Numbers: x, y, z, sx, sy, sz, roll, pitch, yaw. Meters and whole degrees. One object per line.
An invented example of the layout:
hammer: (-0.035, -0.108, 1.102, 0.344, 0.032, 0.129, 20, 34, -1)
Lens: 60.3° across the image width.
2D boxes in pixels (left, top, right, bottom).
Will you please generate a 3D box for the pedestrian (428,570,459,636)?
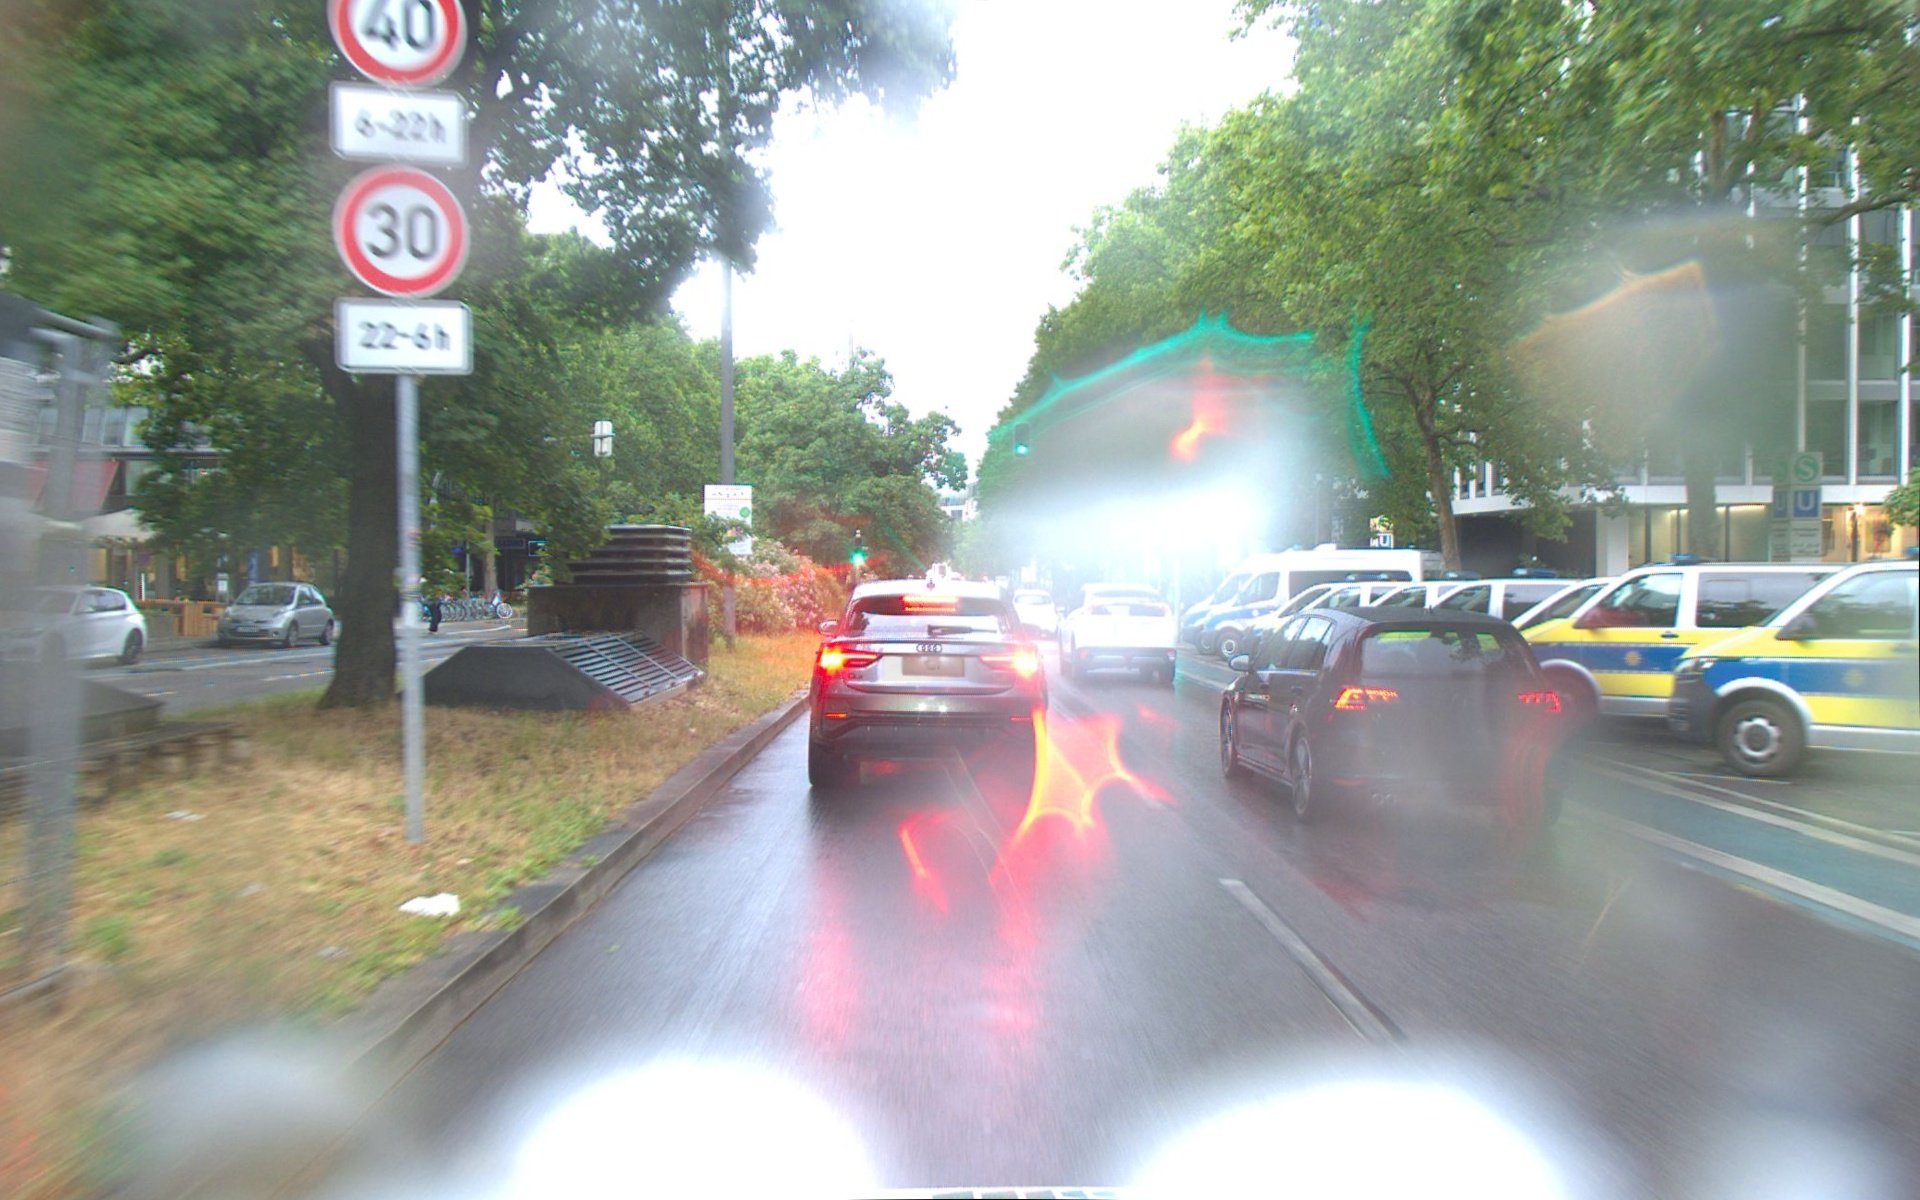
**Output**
pedestrian: (-14.970, 0.091, 47.946, 0.711, 1.899, 0.841, 0, 0, -8)

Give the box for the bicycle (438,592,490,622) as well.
bicycle: (-18.505, 0.258, 61.710, 1.787, 1.117, 0.565, 0, 0, -8)

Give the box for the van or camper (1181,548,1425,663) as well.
van or camper: (8.647, 0.099, 41.976, 5.702, 2.724, 2.138, 1, 0, 37)

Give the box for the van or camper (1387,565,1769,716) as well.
van or camper: (9.201, 0.521, 24.852, 5.008, 2.060, 2.097, 1, 0, 37)

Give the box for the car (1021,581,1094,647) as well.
car: (2.685, 0.356, 46.232, 1.785, 1.780, 4.000, 0, 1, 0)

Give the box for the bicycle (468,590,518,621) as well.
bicycle: (-18.027, 0.220, 63.851, 1.809, 1.169, 0.565, 0, 1, -7)

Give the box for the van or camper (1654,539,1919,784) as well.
van or camper: (8.759, 0.520, 14.356, 4.758, 2.033, 1.860, 1, 0, 36)

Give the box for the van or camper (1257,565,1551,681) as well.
van or camper: (8.519, 0.397, 31.957, 5.102, 2.027, 1.994, 2, 0, 34)

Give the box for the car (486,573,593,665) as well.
car: (-6.743, 0.279, 26.687, 1.029, 1.412, 2.694, 0, 0, 0)

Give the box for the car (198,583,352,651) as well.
car: (-16.274, 0.354, 39.554, 1.953, 1.535, 4.516, 0, 1, -3)

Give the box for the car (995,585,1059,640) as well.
car: (2.210, 0.383, 55.180, 1.953, 1.780, 4.000, 0, 1, 0)

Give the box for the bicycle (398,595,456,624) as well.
bicycle: (-18.347, 0.330, 56.971, 1.808, 0.996, 0.565, 0, 0, -4)

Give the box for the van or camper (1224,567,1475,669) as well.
van or camper: (8.350, 0.378, 35.650, 4.915, 2.049, 1.993, 0, -1, 35)

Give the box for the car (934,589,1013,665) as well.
car: (0.263, 0.556, 37.320, 1.686, 1.605, 3.961, 0, 0, -1)

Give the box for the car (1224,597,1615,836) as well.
car: (3.162, 0.714, 12.230, 1.729, 1.437, 3.999, 0, 1, -1)

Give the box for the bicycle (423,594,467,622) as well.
bicycle: (-18.471, 0.273, 59.360, 1.435, 0.996, 0.565, 0, 0, -9)

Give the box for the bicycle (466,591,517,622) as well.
bicycle: (-17.908, 0.236, 63.286, 1.809, 1.156, 0.565, 0, 1, -7)

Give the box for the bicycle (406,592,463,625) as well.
bicycle: (-18.362, 0.297, 57.833, 1.810, 1.117, 0.613, 0, 0, -9)

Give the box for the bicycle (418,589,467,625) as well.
bicycle: (-18.315, 0.262, 58.604, 1.587, 1.263, 0.508, 0, 0, -8)

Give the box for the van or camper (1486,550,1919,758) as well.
van or camper: (8.459, 0.513, 18.224, 4.698, 2.046, 1.993, 1, 0, 36)

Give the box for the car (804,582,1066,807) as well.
car: (-0.144, 0.639, 13.872, 1.825, 1.559, 4.527, 1, 1, 1)

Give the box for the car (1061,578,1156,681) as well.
car: (2.578, 0.482, 29.150, 1.404, 1.714, 2.979, 0, 0, 0)

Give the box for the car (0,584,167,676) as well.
car: (-16.010, 0.467, 29.030, 1.953, 1.394, 4.539, 3, 1, 0)

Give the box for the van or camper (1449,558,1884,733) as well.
van or camper: (9.036, 0.512, 21.282, 4.918, 2.030, 1.995, 0, 0, 32)

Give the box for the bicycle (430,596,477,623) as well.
bicycle: (-18.382, 0.343, 60.031, 1.587, 0.979, 0.508, 0, 0, -8)

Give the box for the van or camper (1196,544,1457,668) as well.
van or camper: (8.544, 0.112, 38.836, 5.694, 2.727, 1.993, 0, 0, 35)

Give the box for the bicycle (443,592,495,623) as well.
bicycle: (-18.512, 0.273, 62.396, 1.810, 1.156, 0.565, 0, 0, -8)
